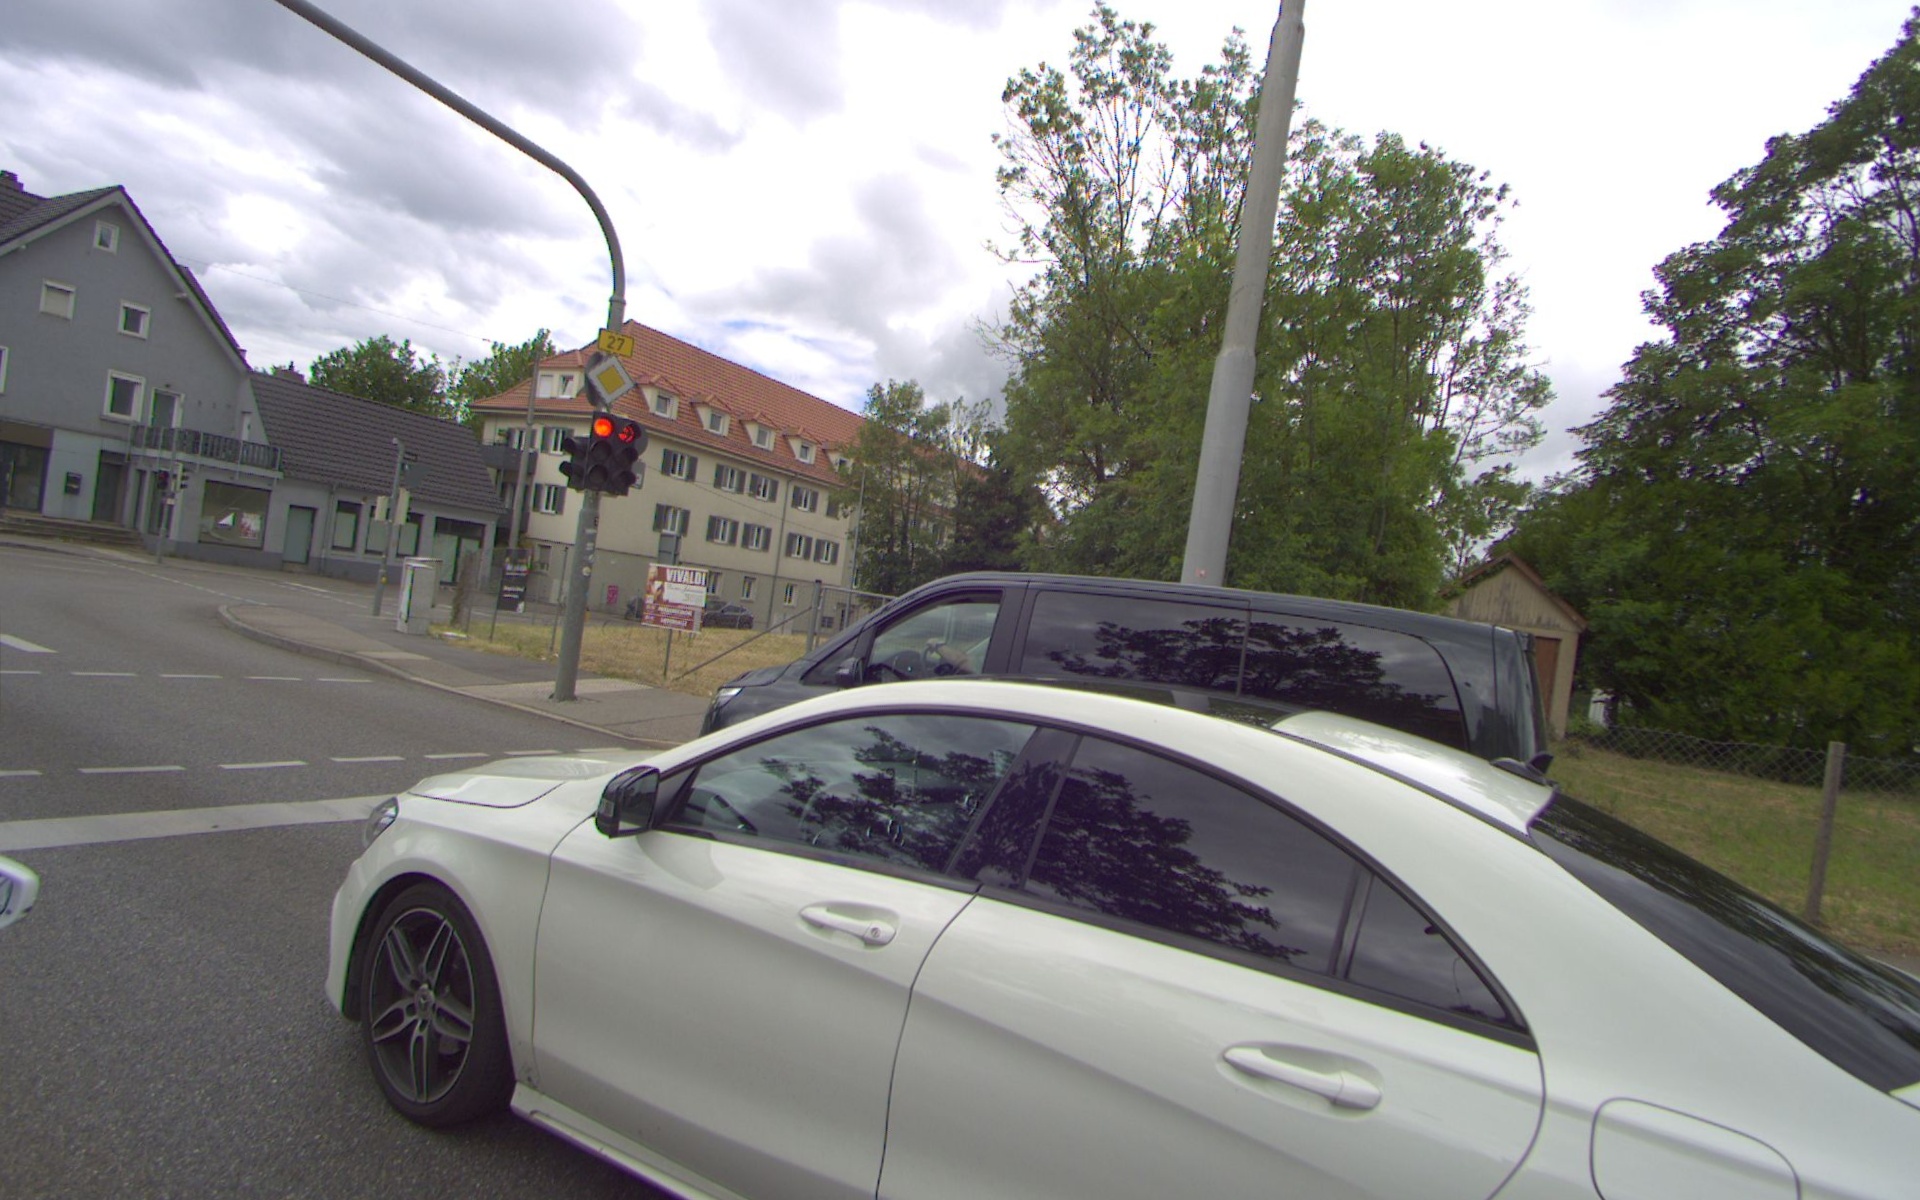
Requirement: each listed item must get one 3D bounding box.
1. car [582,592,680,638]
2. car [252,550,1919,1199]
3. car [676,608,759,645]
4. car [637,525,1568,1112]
[{"bbox_3d":[-15.526,0.738,47.665,1.839,1.554,3.996,7,-2,32],"label":"car"},{"bbox_3d":[0.149,0.846,2.643,4.305,1.451,1.651,7,0,32],"label":"car"},{"bbox_3d":[-12.631,1.400,52.653,1.839,1.393,3.996,7,-2,32],"label":"car"},{"bbox_3d":[0.626,0.805,5.697,4.631,1.860,1.953,7,-2,32],"label":"car"}]
